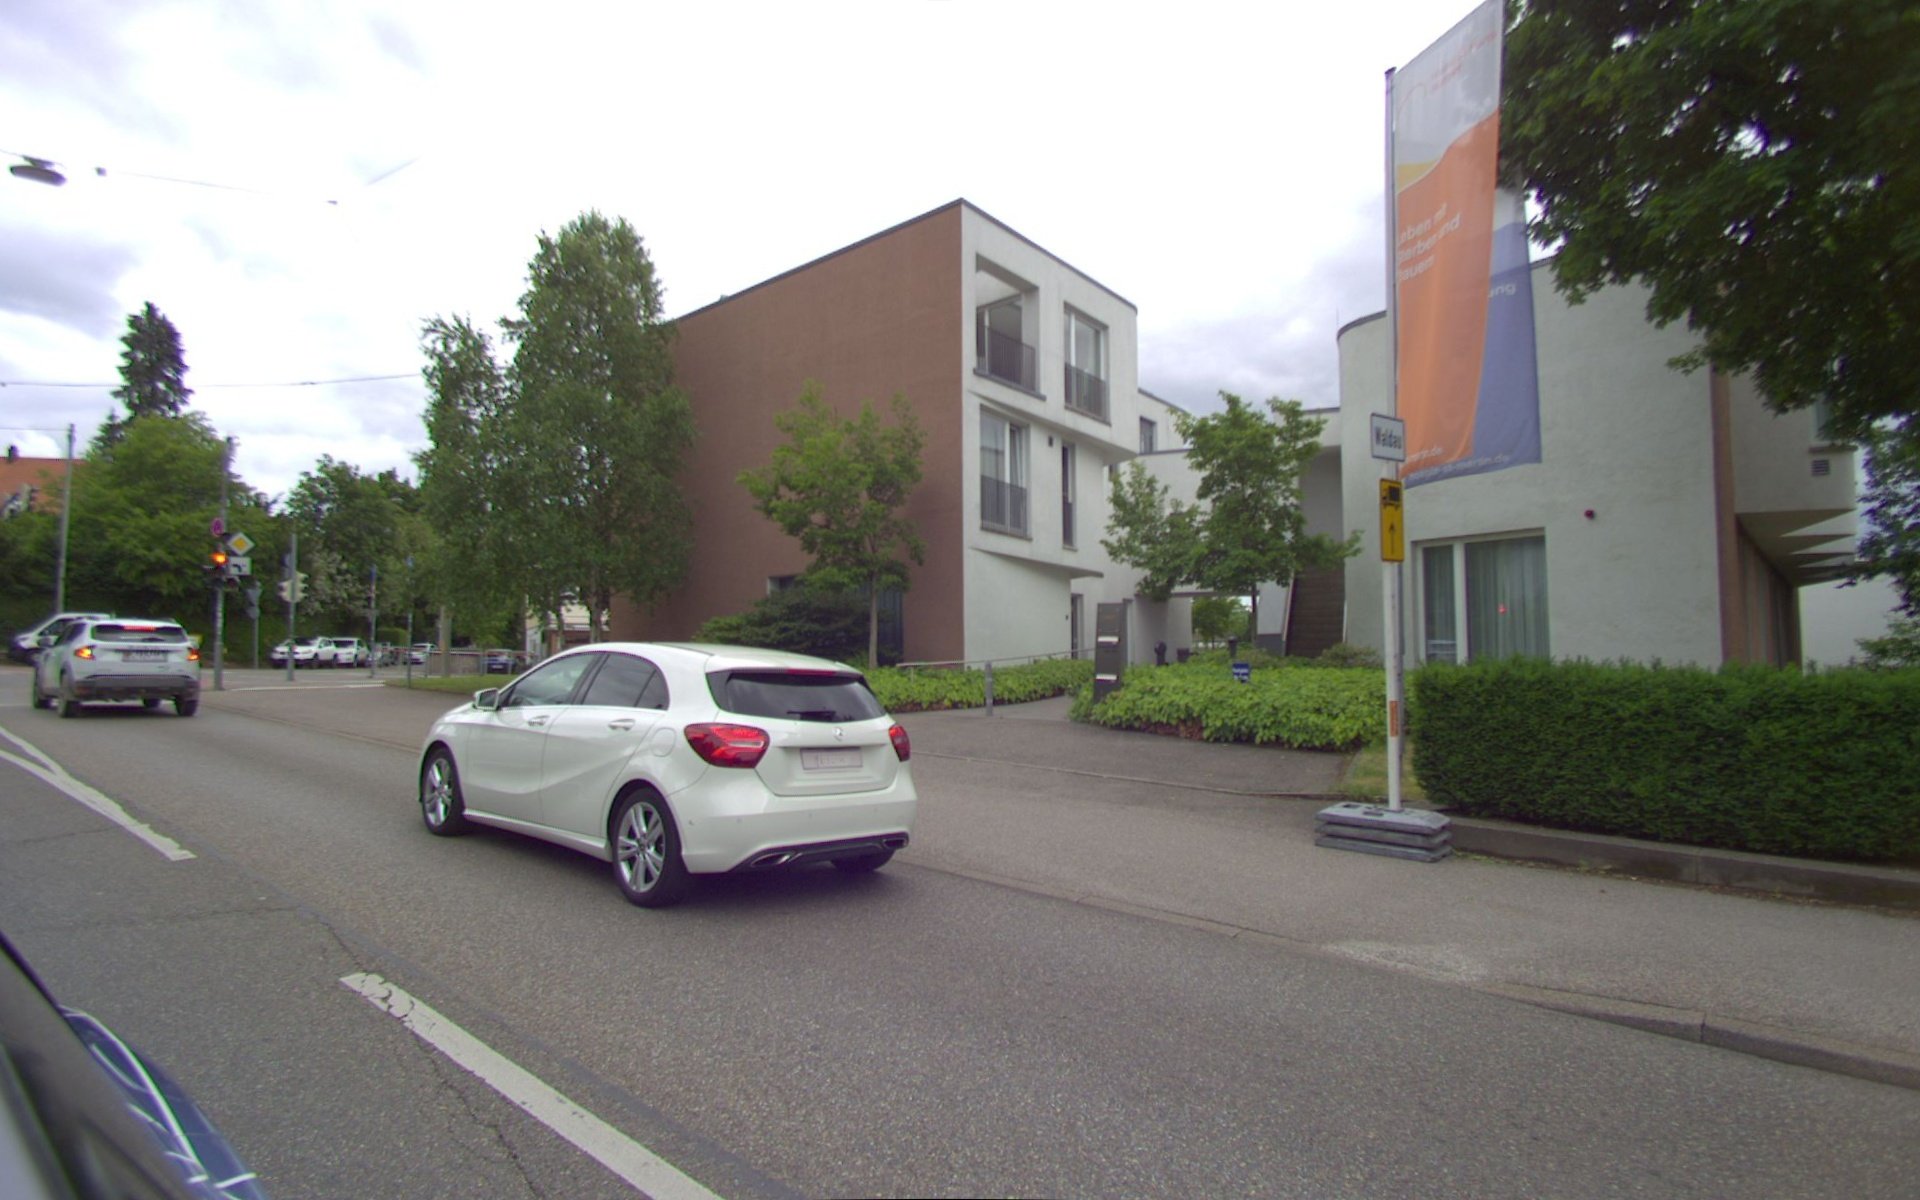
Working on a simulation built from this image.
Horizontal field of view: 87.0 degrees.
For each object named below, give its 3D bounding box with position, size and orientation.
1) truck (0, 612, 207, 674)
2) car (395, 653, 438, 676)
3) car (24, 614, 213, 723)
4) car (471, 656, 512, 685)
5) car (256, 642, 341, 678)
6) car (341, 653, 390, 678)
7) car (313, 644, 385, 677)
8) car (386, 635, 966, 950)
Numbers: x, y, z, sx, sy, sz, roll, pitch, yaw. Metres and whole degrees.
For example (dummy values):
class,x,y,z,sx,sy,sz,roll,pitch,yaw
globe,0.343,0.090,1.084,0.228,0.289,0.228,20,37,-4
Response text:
class,x,y,z,sx,sy,sz,roll,pitch,yaw
truck,-35.463,1.824,41.956,6.609,2.205,2.535,5,-5,-38
car,-40.067,4.745,74.659,1.841,1.599,3.740,2,-4,-14
car,-14.621,1.152,17.503,4.300,1.650,1.750,-1,-6,42
car,-25.093,3.779,54.307,1.848,1.460,4.013,4,-4,-23
car,-32.192,2.953,49.392,1.967,1.625,4.008,3,-4,-10
car,-35.416,3.893,60.402,1.840,1.464,3.742,2,-3,-20
car,-33.083,3.294,54.936,1.967,1.625,4.008,3,-4,-10
car,-2.081,1.014,6.766,4.064,1.432,1.748,-1,-5,41
